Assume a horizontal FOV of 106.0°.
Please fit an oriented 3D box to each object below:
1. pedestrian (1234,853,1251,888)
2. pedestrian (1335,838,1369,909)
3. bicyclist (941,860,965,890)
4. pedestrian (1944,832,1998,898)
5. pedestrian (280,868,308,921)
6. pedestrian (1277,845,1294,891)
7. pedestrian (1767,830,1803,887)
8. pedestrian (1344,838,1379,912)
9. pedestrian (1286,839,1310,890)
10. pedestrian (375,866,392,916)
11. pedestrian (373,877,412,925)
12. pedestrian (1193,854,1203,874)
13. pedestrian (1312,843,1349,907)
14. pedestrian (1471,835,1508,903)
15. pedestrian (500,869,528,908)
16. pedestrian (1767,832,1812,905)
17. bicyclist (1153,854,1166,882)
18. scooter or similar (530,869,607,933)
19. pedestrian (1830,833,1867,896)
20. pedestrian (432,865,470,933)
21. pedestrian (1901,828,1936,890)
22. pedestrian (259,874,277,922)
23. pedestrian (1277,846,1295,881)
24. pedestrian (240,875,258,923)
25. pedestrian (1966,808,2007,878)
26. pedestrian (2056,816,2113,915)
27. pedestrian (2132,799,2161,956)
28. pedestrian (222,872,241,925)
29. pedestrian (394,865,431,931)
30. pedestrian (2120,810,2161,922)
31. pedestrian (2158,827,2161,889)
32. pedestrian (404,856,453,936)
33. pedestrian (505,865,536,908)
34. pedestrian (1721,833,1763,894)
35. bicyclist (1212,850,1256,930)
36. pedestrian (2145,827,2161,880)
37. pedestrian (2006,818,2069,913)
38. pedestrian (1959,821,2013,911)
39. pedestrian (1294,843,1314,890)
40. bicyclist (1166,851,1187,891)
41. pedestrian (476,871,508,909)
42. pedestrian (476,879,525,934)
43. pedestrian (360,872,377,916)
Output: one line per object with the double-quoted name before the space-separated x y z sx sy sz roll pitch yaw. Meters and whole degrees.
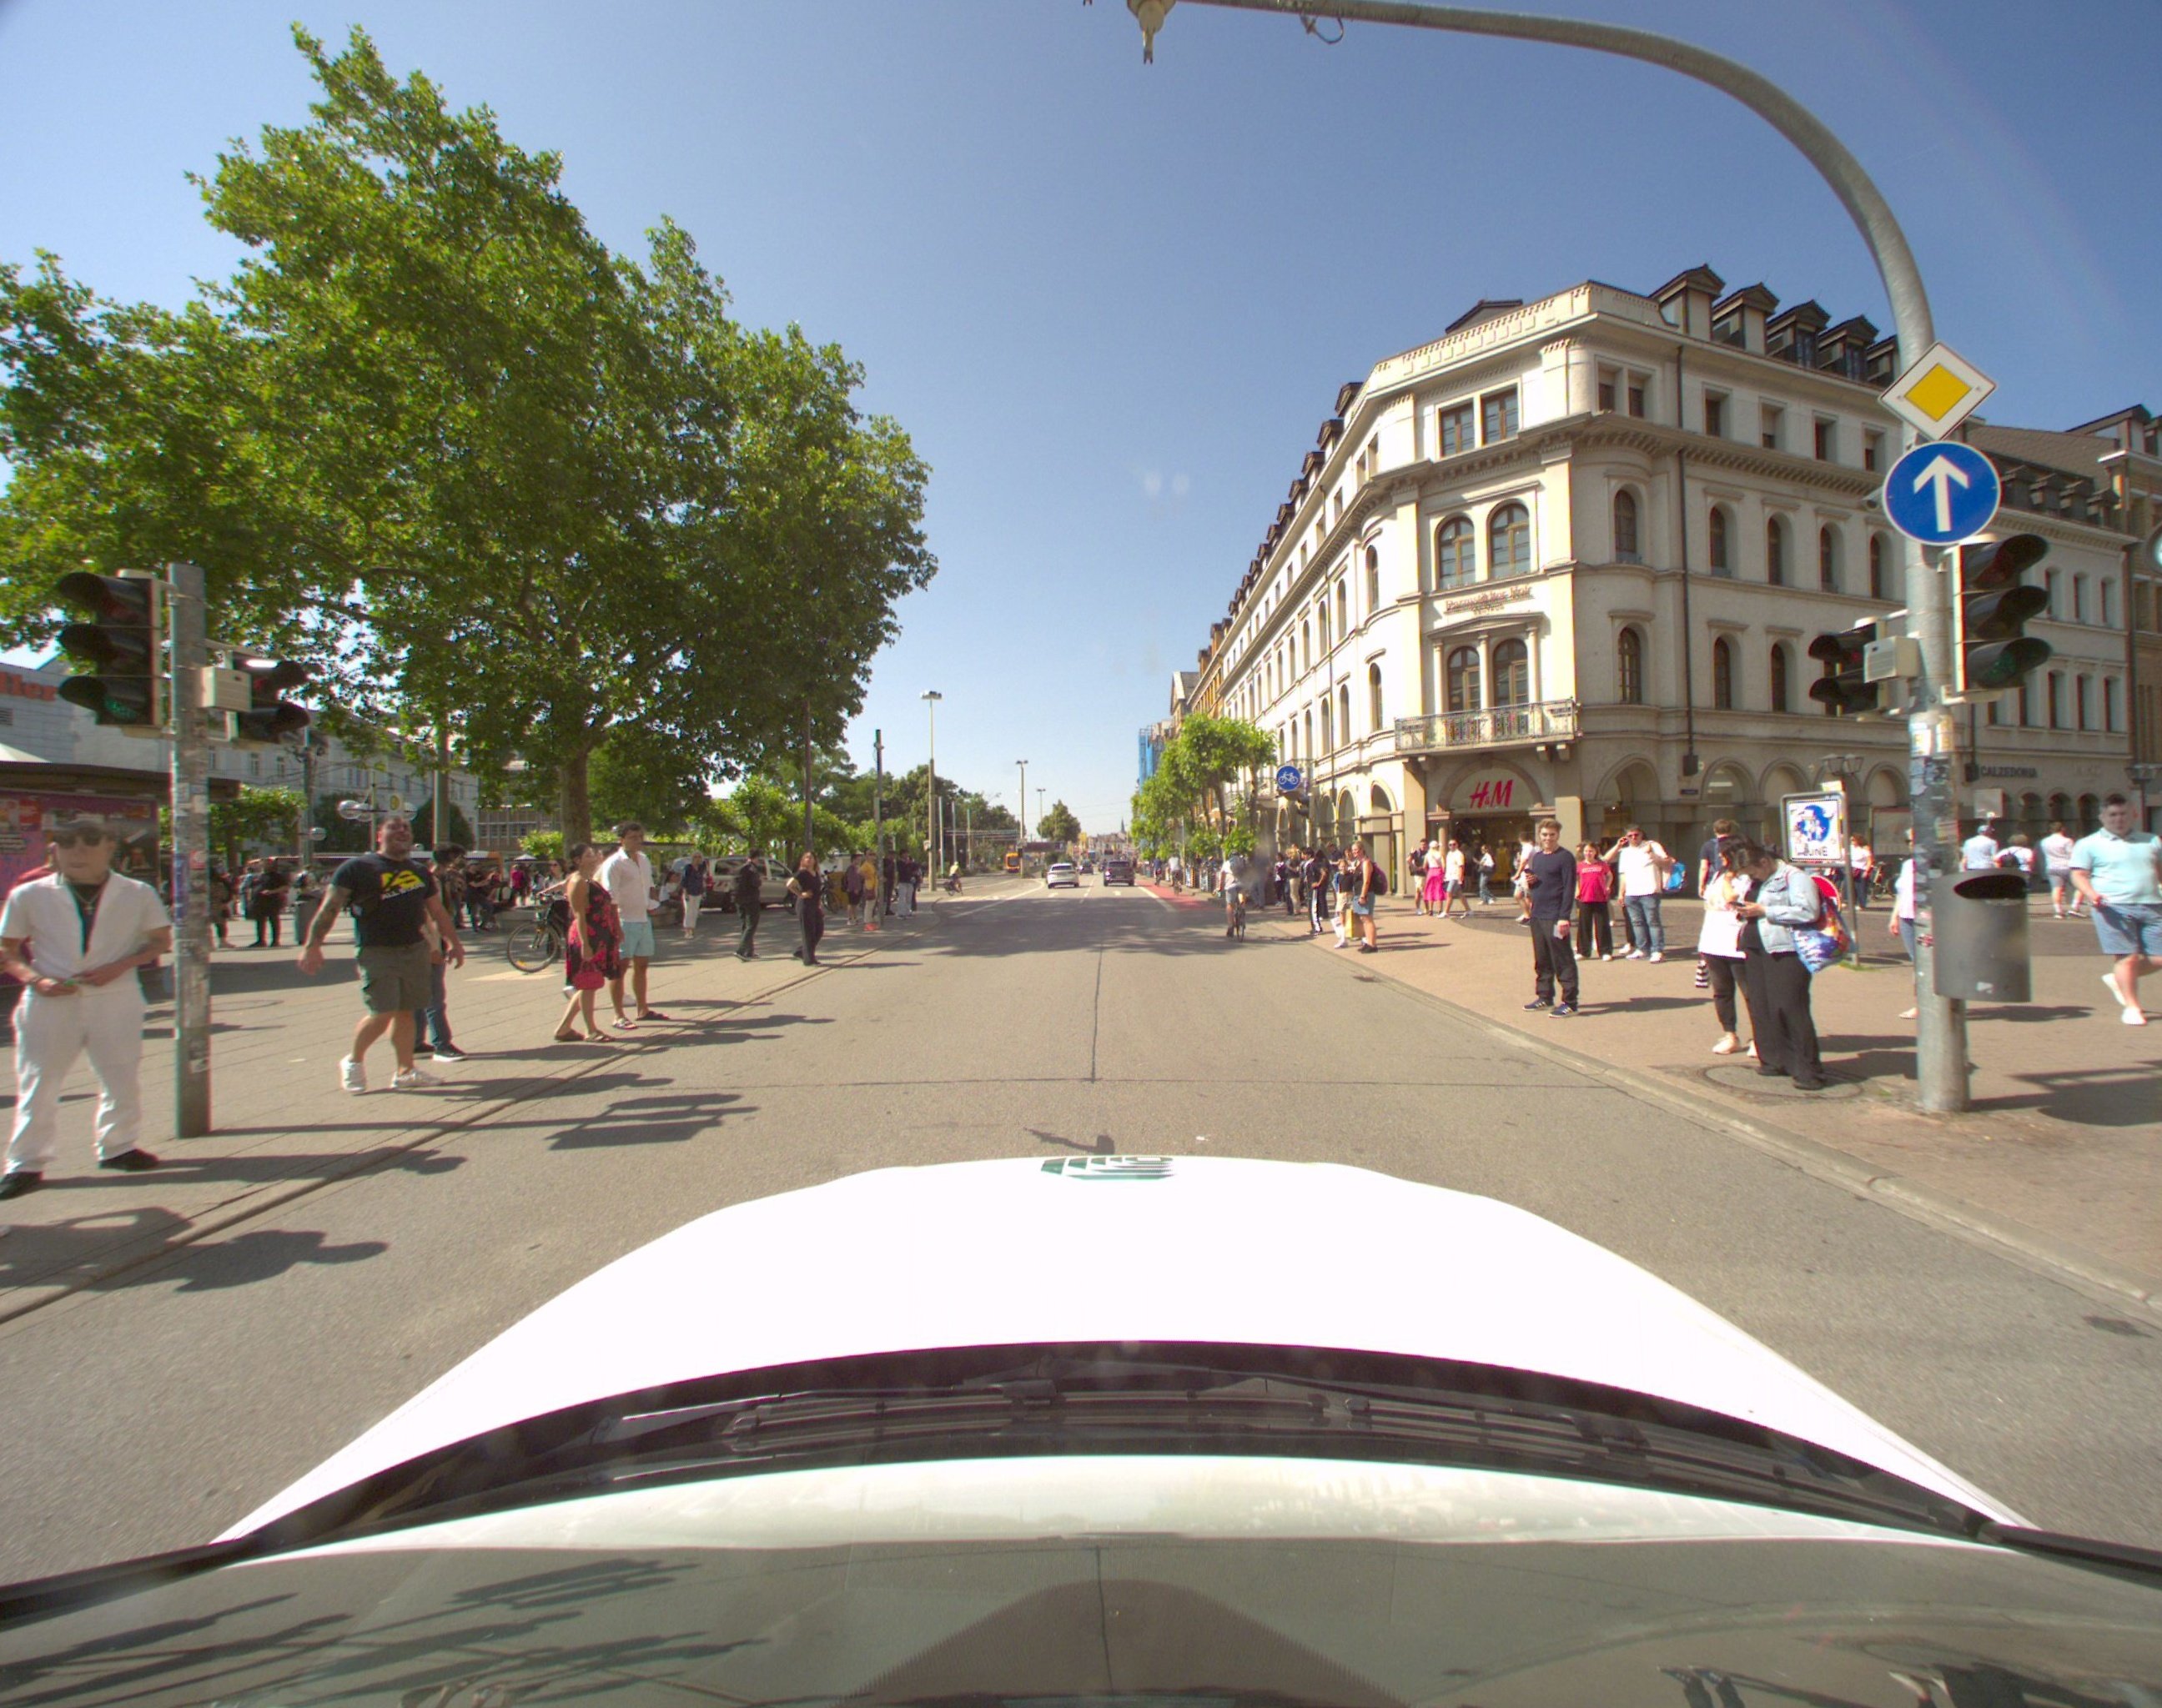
"pedestrian" 7.831 0.783 39.597 0.673 1.665 0.612 -1 -1 0
"pedestrian" 7.034 0.511 21.152 0.608 1.807 0.677 -1 -1 0
"bicyclist" -6.558 1.089 41.859 0.731 1.503 1.058 -1 -1 27
"pedestrian" 22.203 0.263 20.329 0.660 1.617 0.754 0 0 -24
"pedestrian" -26.615 1.359 27.549 0.565 1.749 0.610 -1 -1 40
"pedestrian" 8.071 0.555 32.153 0.475 1.792 0.612 -1 -1 1
"pedestrian" 20.049 0.126 23.192 0.660 1.600 0.563 0 0 -24
"pedestrian" 7.037 0.521 20.422 0.608 1.807 0.677 -1 -1 0
"pedestrian" 7.799 0.367 29.274 0.673 1.792 0.612 -1 -1 1
"pedestrian" -25.124 1.324 29.335 0.410 1.749 0.385 -1 -1 40
"pedestrian" -22.203 1.518 26.258 0.740 1.514 0.607 -1 -1 7
"pedestrian" 9.298 0.808 64.652 0.673 1.572 0.612 -1 -1 0
"pedestrian" 6.835 0.576 22.343 0.613 1.705 0.672 -2 -1 -27
"pedestrian" 10.811 0.406 21.561 0.608 1.764 0.677 -1 -1 0
"pedestrian" -22.550 1.363 32.411 0.603 1.514 0.745 -1 -1 -5
"pedestrian" 16.941 0.335 19.464 0.543 1.716 0.671 0 0 -29
"bicyclist" 4.514 0.798 46.824 0.645 1.551 0.818 -1 -1 1
"scooter or similar" -11.920 1.067 18.951 1.264 1.421 1.045 -2 -1 32
"pedestrian" 21.536 0.280 22.860 0.660 1.736 0.563 0 0 -24
"pedestrian" -15.649 1.109 20.243 0.508 1.657 0.528 -3 -2 21
"pedestrian" 25.605 0.138 24.910 0.660 1.869 0.563 0 0 -24
"pedestrian" -27.170 1.470 27.221 0.410 1.574 0.385 -1 -1 40
"pedestrian" 9.495 0.441 37.781 0.673 1.572 0.612 -1 -1 0
"pedestrian" -27.435 1.477 26.851 0.410 1.574 0.385 -1 -1 40
"pedestrian" 24.510 -0.301 22.047 0.660 1.869 0.563 0 0 -24
"pedestrian" 19.499 0.219 15.829 0.660 1.869 0.563 0 0 -24
"pedestrian" 12.995 0.268 9.406 0.808 1.824 0.780 0 -3 -22
"pedestrian" -27.482 1.425 26.352 0.410 1.671 0.385 -1 -1 40
"pedestrian" -16.603 1.085 20.228 0.494 1.603 0.501 -3 -2 21
"pedestrian" 18.296 0.198 13.891 0.660 1.869 0.563 0 0 -24
"pedestrian" 32.992 0.117 24.403 0.741 1.869 0.711 0 0 -24
"pedestrian" -15.151 0.973 18.921 0.627 1.810 0.618 -3 -2 21
"pedestrian" -22.960 1.334 33.361 0.738 1.713 0.740 -1 -1 17
"pedestrian" 18.654 0.266 22.987 0.612 1.679 0.673 0 -1 -21
"bicyclist" 2.913 0.667 15.631 0.628 1.481 1.198 0 -1 1
"pedestrian" 37.984 -0.014 28.608 0.660 1.869 0.563 -1 -1 -24
"pedestrian" 19.235 0.220 16.386 0.660 1.869 0.676 0 0 -24
"pedestrian" 19.258 0.251 17.334 0.543 1.869 0.671 0 0 -29
"pedestrian" 8.794 0.492 32.131 0.626 1.792 0.612 -1 -1 1
"bicyclist" 4.026 0.720 34.509 0.771 1.635 0.851 -1 0 1
"pedestrian" -23.851 1.465 32.969 0.738 1.514 0.739 -1 -1 15
"pedestrian" -14.065 1.256 19.745 0.627 1.293 0.735 -1 -1 22
"pedestrian" -25.417 1.420 29.053 0.410 1.574 0.385 -1 -1 40
